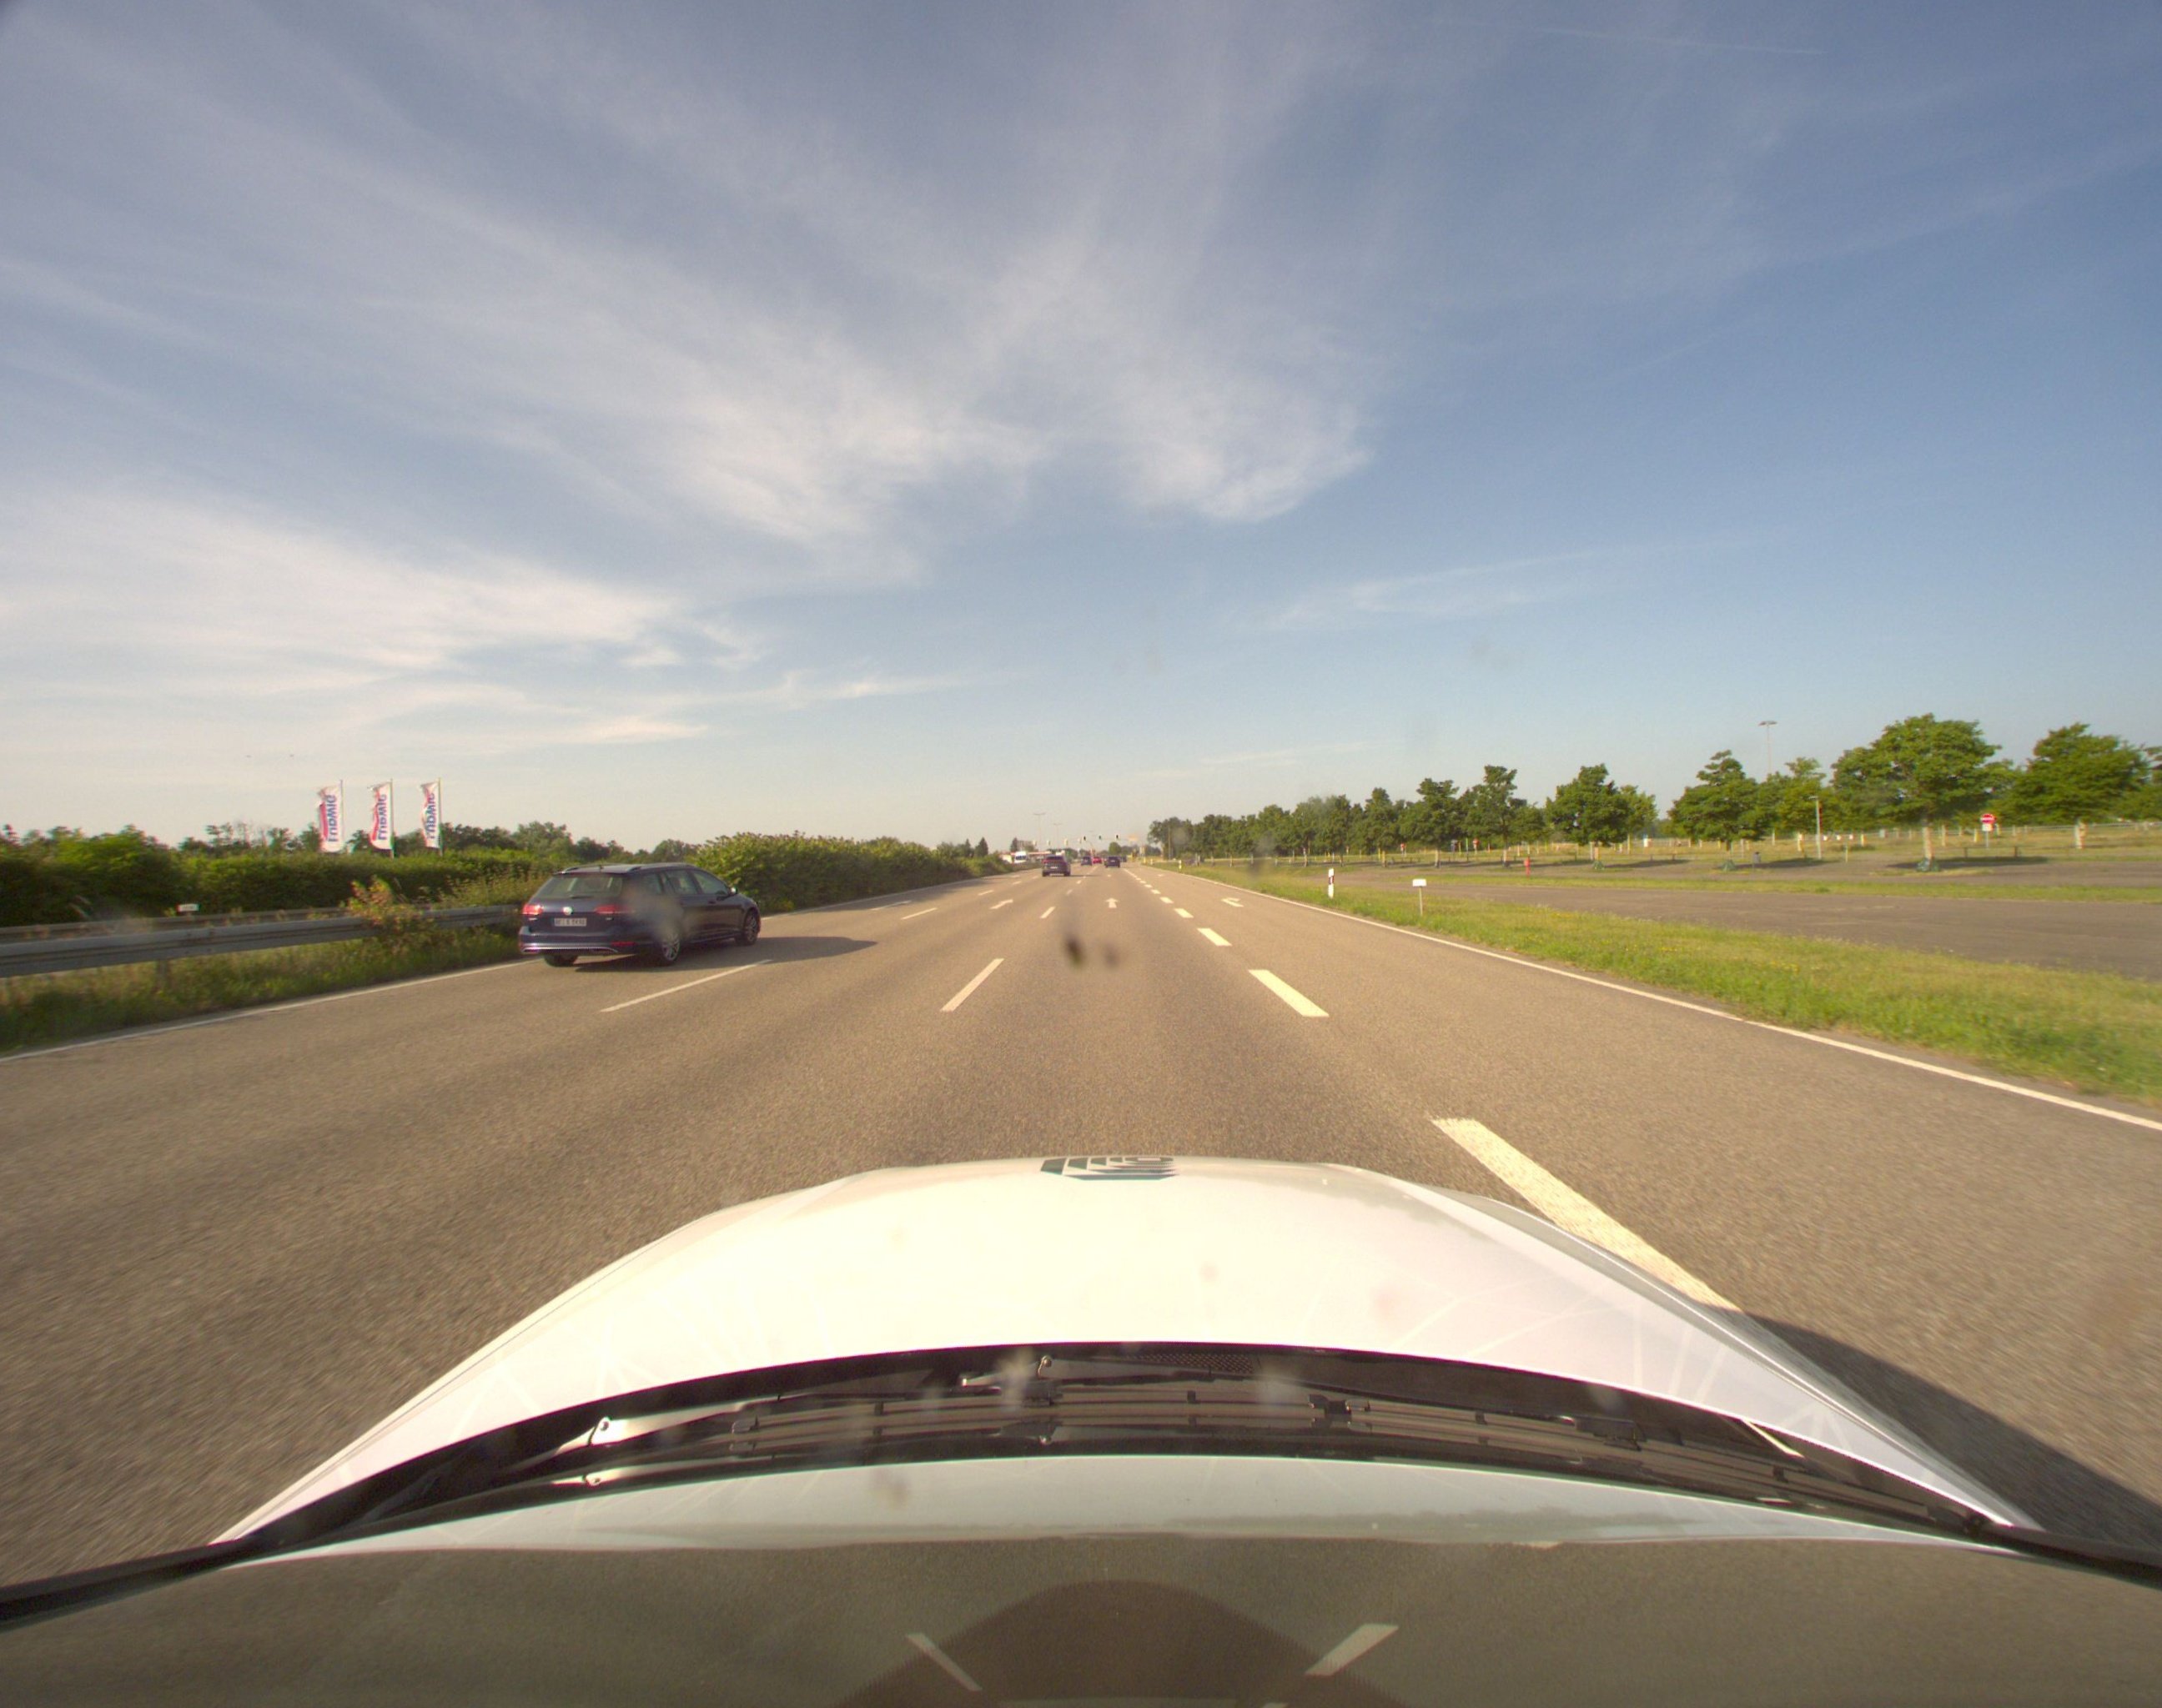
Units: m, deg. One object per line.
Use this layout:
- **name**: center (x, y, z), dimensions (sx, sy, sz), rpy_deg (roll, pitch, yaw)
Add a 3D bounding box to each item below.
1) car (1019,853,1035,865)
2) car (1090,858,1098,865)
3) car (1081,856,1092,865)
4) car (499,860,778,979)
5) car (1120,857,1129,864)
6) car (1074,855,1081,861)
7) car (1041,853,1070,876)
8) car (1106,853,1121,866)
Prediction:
- **car**: center (-9.090, 0.843, 137.582), dimensions (2.154, 2.035, 6.324), rpy_deg (0, -1, 1)
- **car**: center (2.738, 1.474, 167.016), dimensions (1.641, 1.463, 3.982), rpy_deg (1, 0, 2)
- **car**: center (0.950, 1.077, 137.904), dimensions (1.806, 1.463, 4.402), rpy_deg (1, 0, 2)
- **car**: center (-6.594, 0.856, 12.871), dimensions (1.640, 1.471, 4.778), rpy_deg (-2, 0, 2)
- **car**: center (10.195, 1.625, 191.050), dimensions (1.940, 1.636, 3.447), rpy_deg (0, -1, 0)
- **car**: center (-0.969, 1.119, 215.711), dimensions (1.594, 1.532, 4.001), rpy_deg (1, 0, 2)
- **car**: center (-1.855, 0.758, 60.192), dimensions (1.839, 1.612, 4.402), rpy_deg (1, 0, 2)
- **car**: center (4.368, 0.679, 109.151), dimensions (1.925, 1.680, 4.402), rpy_deg (1, 0, 2)
